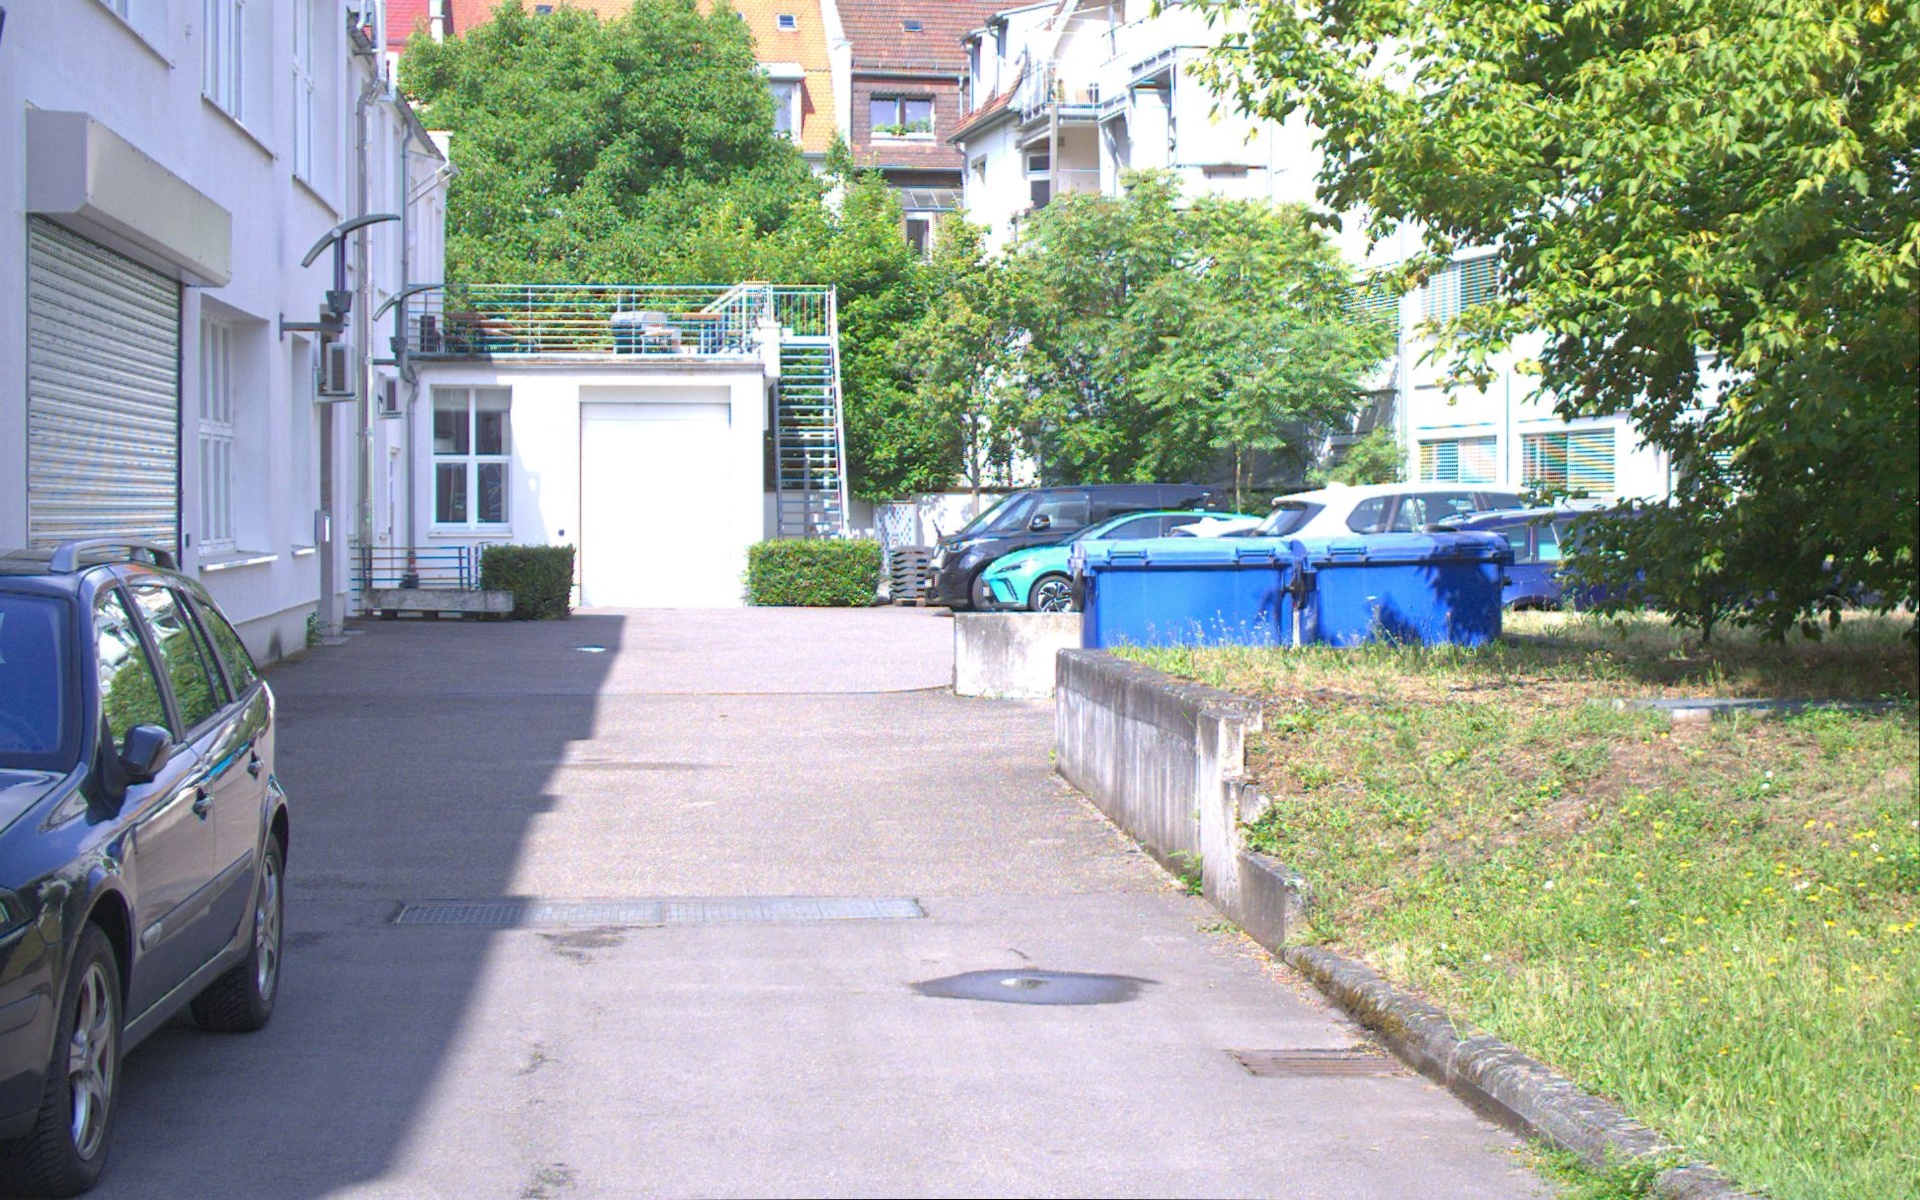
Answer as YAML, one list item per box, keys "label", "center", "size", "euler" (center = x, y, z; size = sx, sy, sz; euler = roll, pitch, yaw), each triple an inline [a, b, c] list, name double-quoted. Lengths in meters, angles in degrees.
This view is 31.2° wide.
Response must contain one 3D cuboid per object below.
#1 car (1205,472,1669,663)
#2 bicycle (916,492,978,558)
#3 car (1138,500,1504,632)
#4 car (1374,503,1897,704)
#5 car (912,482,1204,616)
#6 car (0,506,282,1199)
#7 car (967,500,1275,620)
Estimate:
- label: "car"
  center: [4.523, -0.331, 32.868]
  size: [3.986, 1.740, 1.950]
  euler: [0, 1, -10]
- label: "bicycle"
  center: [-0.234, -1.304, 59.919]
  size: [0.640, 1.113, 1.859]
  euler: [2, 0, -14]
- label: "car"
  center: [4.248, -0.425, 40.682]
  size: [3.986, 1.440, 1.629]
  euler: [-1, 2, -10]
- label: "car"
  center: [5.902, 0.033, 30.243]
  size: [4.111, 1.601, 1.755]
  euler: [2, 0, -10]
- label: "car"
  center: [1.416, -0.732, 50.444]
  size: [3.986, 1.811, 1.664]
  euler: [2, 0, -10]
- label: "car"
  center: [-2.912, 0.588, 8.691]
  size: [1.879, 1.437, 4.341]
  euler: [1, -2, -5]
- label: "car"
  center: [2.218, -0.578, 47.754]
  size: [3.986, 1.568, 1.629]
  euler: [-1, 2, -10]
